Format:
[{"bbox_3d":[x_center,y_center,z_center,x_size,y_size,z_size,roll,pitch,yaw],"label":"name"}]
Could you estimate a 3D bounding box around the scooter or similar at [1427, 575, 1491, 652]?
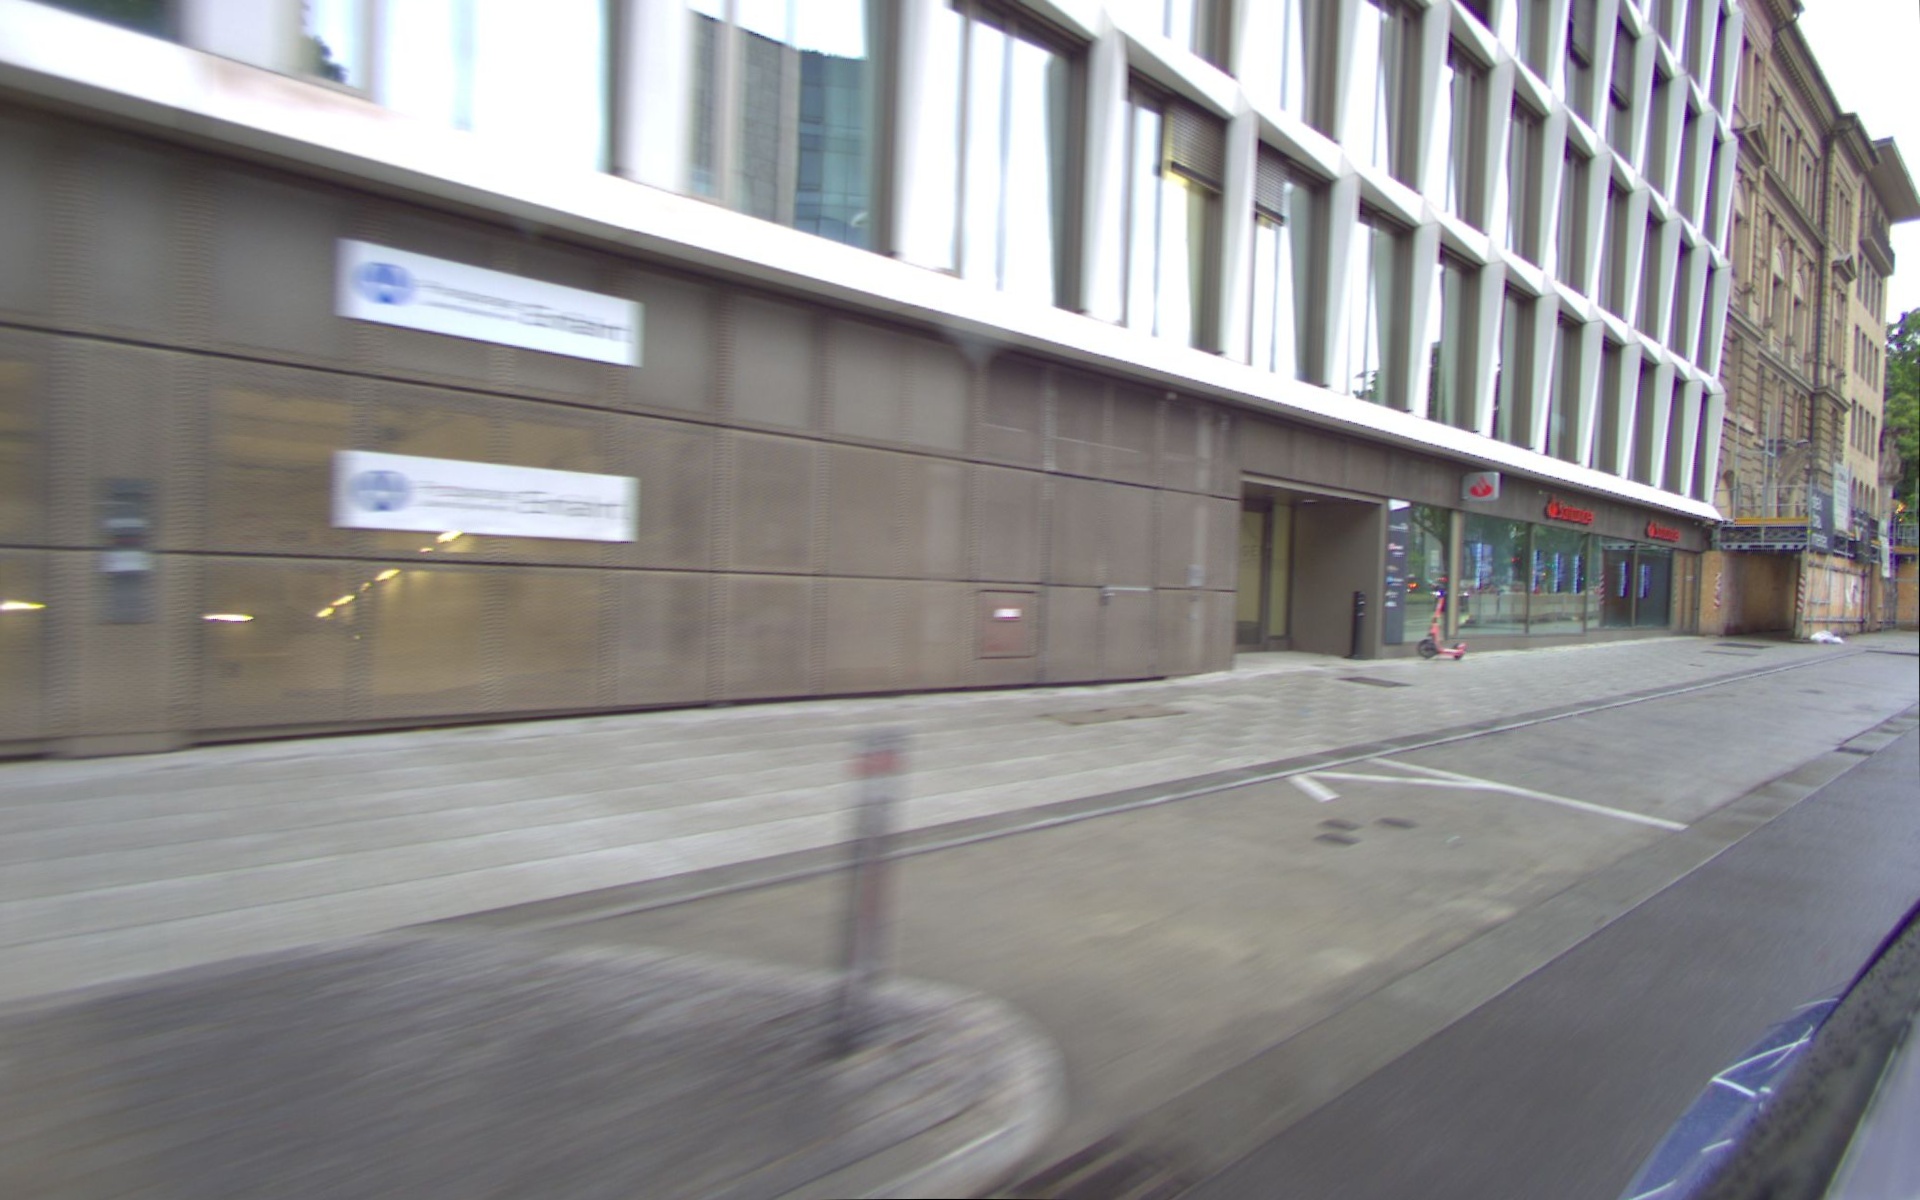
[{"bbox_3d":[8.430,0.217,17.086,1.166,1.251,0.413,0,1,-32],"label":"scooter or similar"}]
